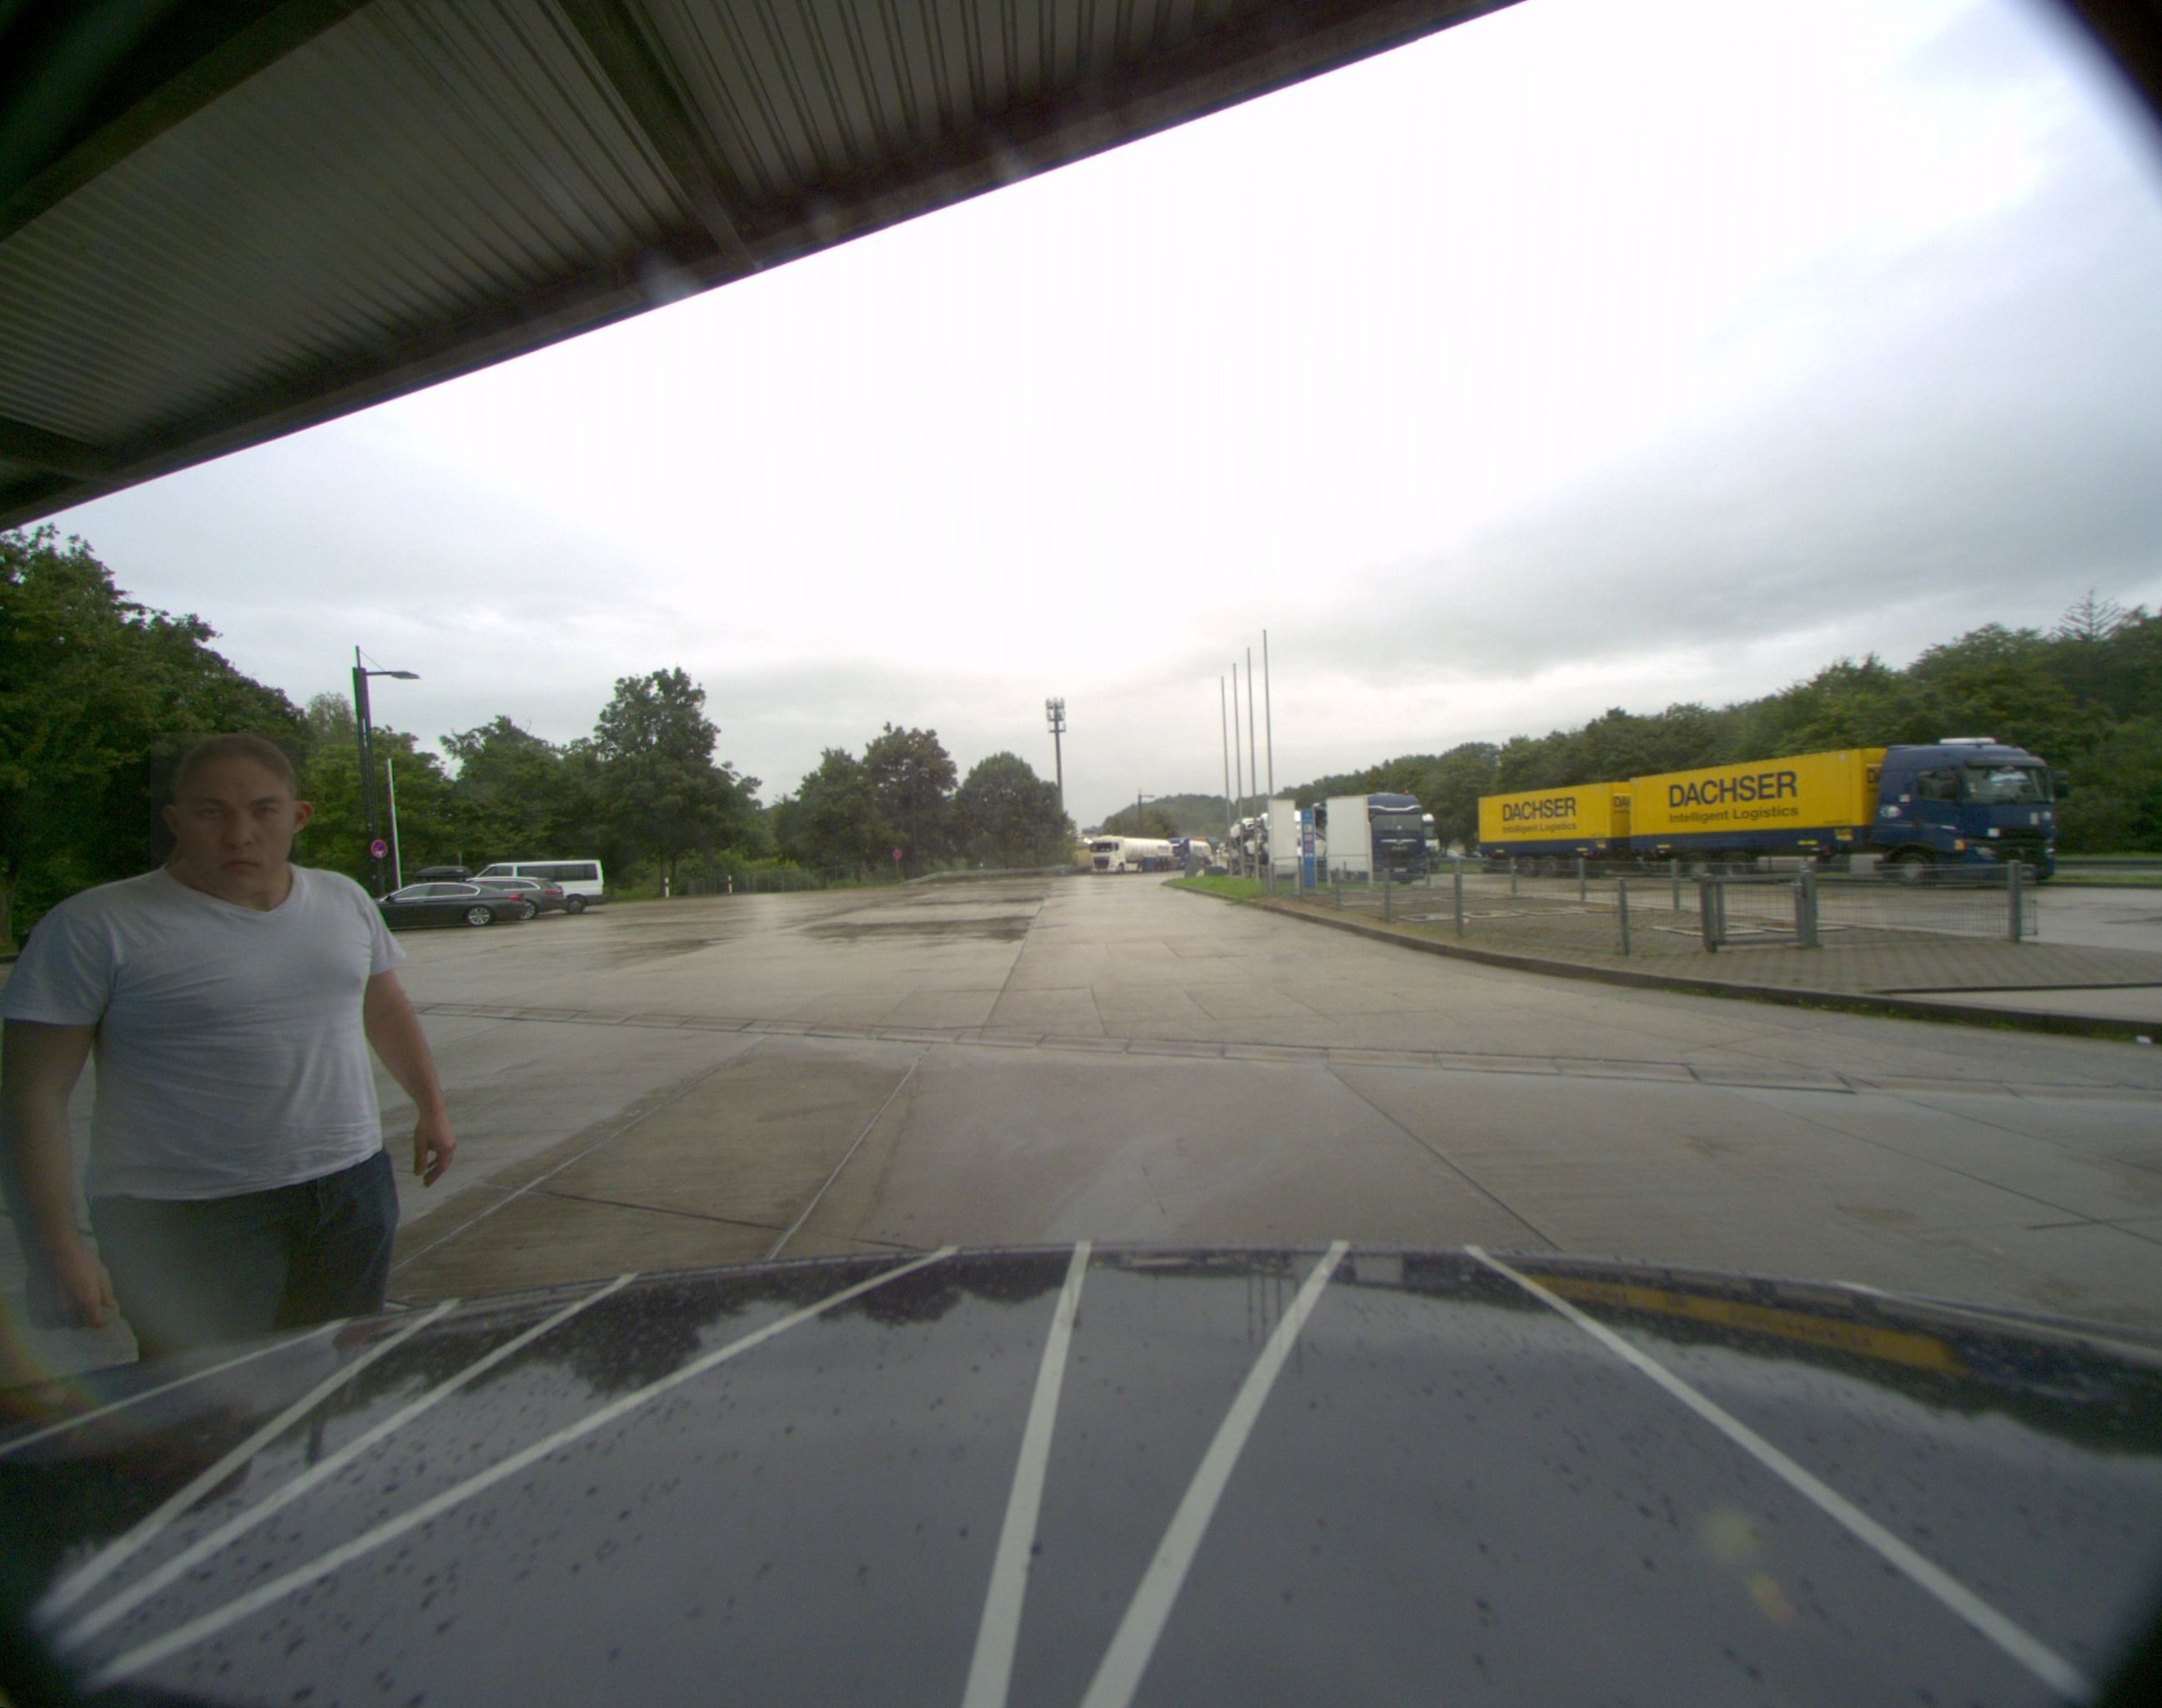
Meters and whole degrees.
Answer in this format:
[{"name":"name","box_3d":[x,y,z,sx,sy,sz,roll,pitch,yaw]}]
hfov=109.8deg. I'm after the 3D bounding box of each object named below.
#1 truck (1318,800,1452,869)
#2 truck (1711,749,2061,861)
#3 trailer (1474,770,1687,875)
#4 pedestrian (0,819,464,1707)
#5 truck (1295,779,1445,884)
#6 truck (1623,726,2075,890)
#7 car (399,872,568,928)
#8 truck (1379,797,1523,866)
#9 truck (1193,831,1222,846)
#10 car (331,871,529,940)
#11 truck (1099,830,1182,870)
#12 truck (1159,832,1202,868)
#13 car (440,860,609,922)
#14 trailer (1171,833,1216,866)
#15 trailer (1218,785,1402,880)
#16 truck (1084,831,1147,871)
[{"name":"truck","box_3d":[19.757,-1.209,50.427,2.991,4.009,10.464,-2,1,-10]},{"name":"truck","box_3d":[33.771,-1.835,32.926,2.991,4.009,10.464,-2,1,-10]},{"name":"trailer","box_3d":[21.781,-1.264,33.986,2.774,4.009,8.853,-2,1,-8]},{"name":"pedestrian","box_3d":[-1.745,0.846,1.433,0.493,1.800,0.634,-2,2,10]},{"name":"truck","box_3d":[12.301,-0.914,33.242,2.990,4.009,7.259,-2,1,-7]},{"name":"truck","box_3d":[23.059,-1.204,24.303,2.774,4.009,10.632,-2,1,-8]},{"name":"car","box_3d":[-19.656,1.456,25.277,4.187,1.547,1.995,-2,0,-33]},{"name":"truck","box_3d":[24.360,-1.391,50.950,2.991,4.009,10.464,-2,1,-10]},{"name":"truck","box_3d":[31.747,-3.798,191.899,3.251,3.543,14.656,0,0,-7]},{"name":"car","box_3d":[-19.124,1.453,22.636,4.187,1.720,1.995,-2,0,-33]},{"name":"truck","box_3d":[6.198,-0.512,76.344,3.243,3.544,11.995,-2,1,31]},{"name":"truck","box_3d":[11.327,-0.513,85.729,3.045,3.745,6.475,-2,1,23]},{"name":"car","box_3d":[-20.266,1.285,27.908,4.780,1.974,2.010,-2,0,-36]},{"name":"trailer","box_3d":[13.667,-0.640,91.436,2.898,3.618,10.586,-2,1,22]},{"name":"trailer","box_3d":[11.372,-0.990,40.934,2.990,4.009,16.597,-2,1,-7]},{"name":"truck","box_3d":[3.315,-0.346,71.433,3.243,3.544,6.114,-2,1,31]}]
